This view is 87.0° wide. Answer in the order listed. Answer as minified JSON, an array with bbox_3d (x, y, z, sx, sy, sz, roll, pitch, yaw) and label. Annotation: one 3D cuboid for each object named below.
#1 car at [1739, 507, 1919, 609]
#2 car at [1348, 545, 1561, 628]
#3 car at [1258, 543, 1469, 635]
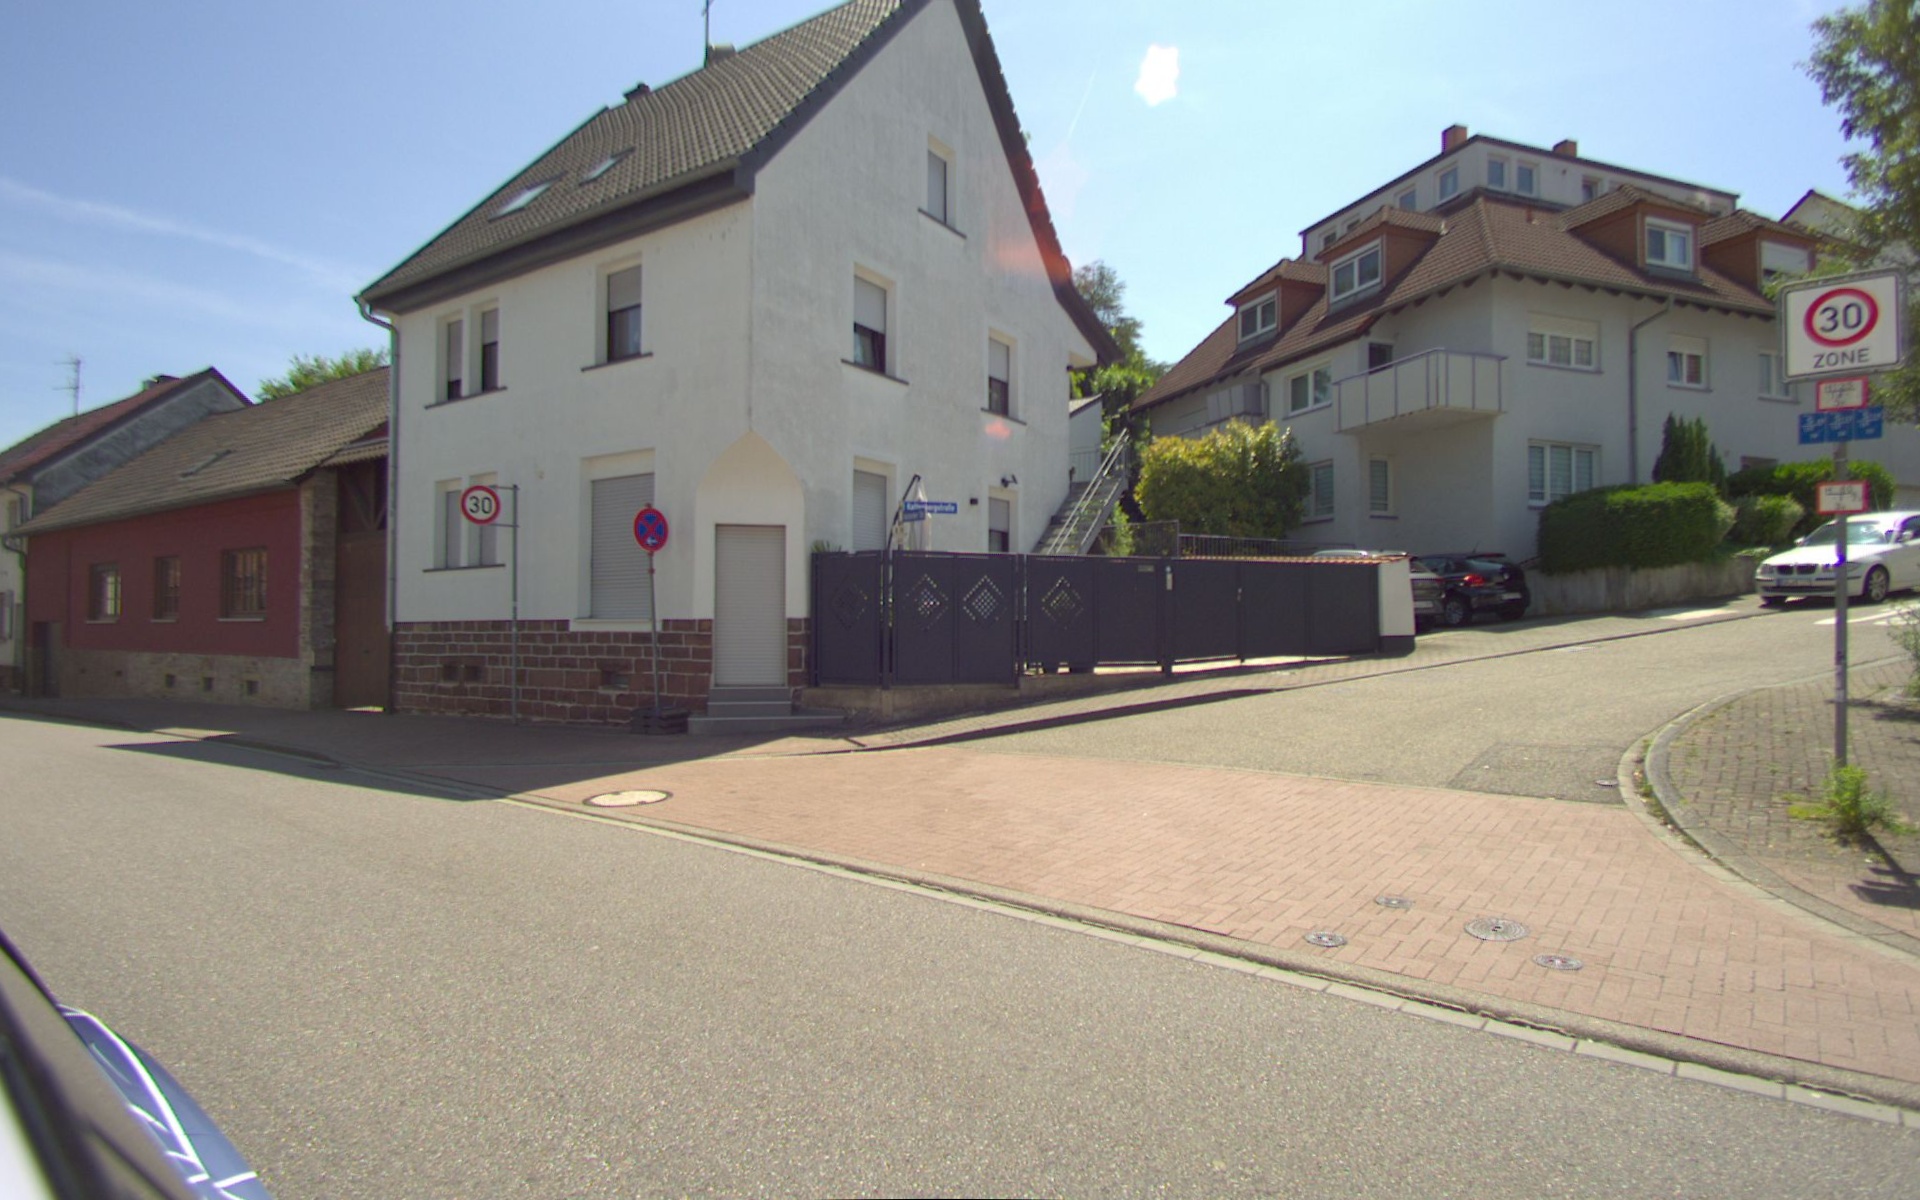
[{"bbox_3d":[15.874,-0.778,17.588,3.856,1.417,1.851,-7,2,-20],"label":"car"},{"bbox_3d":[9.972,-0.261,20.741,1.757,1.477,3.782,-3,1,-17],"label":"car"},{"bbox_3d":[7.651,-0.204,19.602,1.757,1.547,3.782,-3,1,-17],"label":"car"}]
